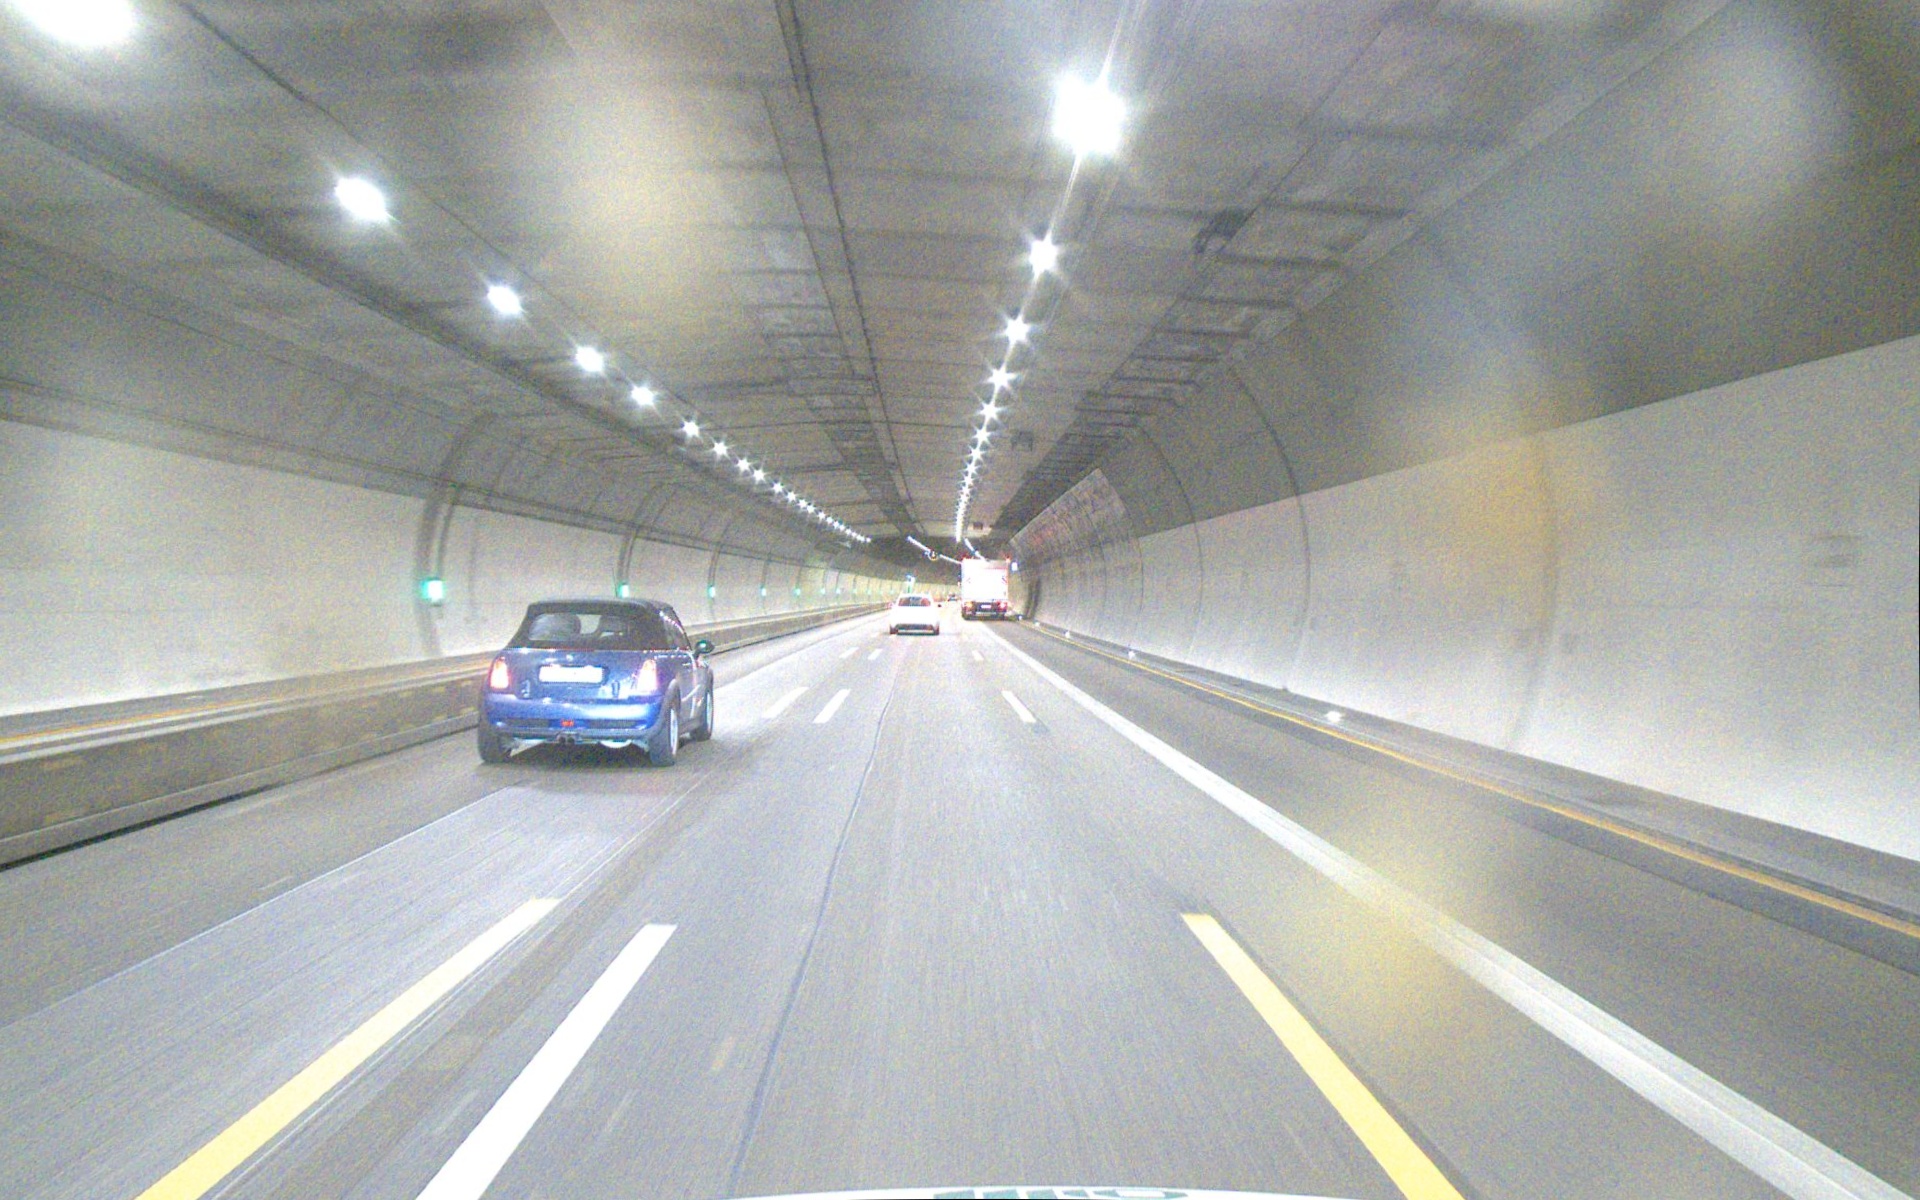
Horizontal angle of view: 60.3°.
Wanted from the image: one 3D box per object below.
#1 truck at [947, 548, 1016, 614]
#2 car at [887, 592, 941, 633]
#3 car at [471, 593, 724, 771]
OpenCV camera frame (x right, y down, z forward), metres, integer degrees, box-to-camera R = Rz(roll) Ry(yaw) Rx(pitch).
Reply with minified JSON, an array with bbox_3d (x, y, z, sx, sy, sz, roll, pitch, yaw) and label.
[{"bbox_3d":[1.167,-1.101,98.229,3.521,3.714,10.717,0,1,-3],"label":"truck"},{"bbox_3d":[-1.741,0.418,61.267,1.953,1.437,4.740,0,1,-3],"label":"car"},{"bbox_3d":[-3.250,0.663,15.525,1.655,1.442,3.921,0,0,-2],"label":"car"}]
